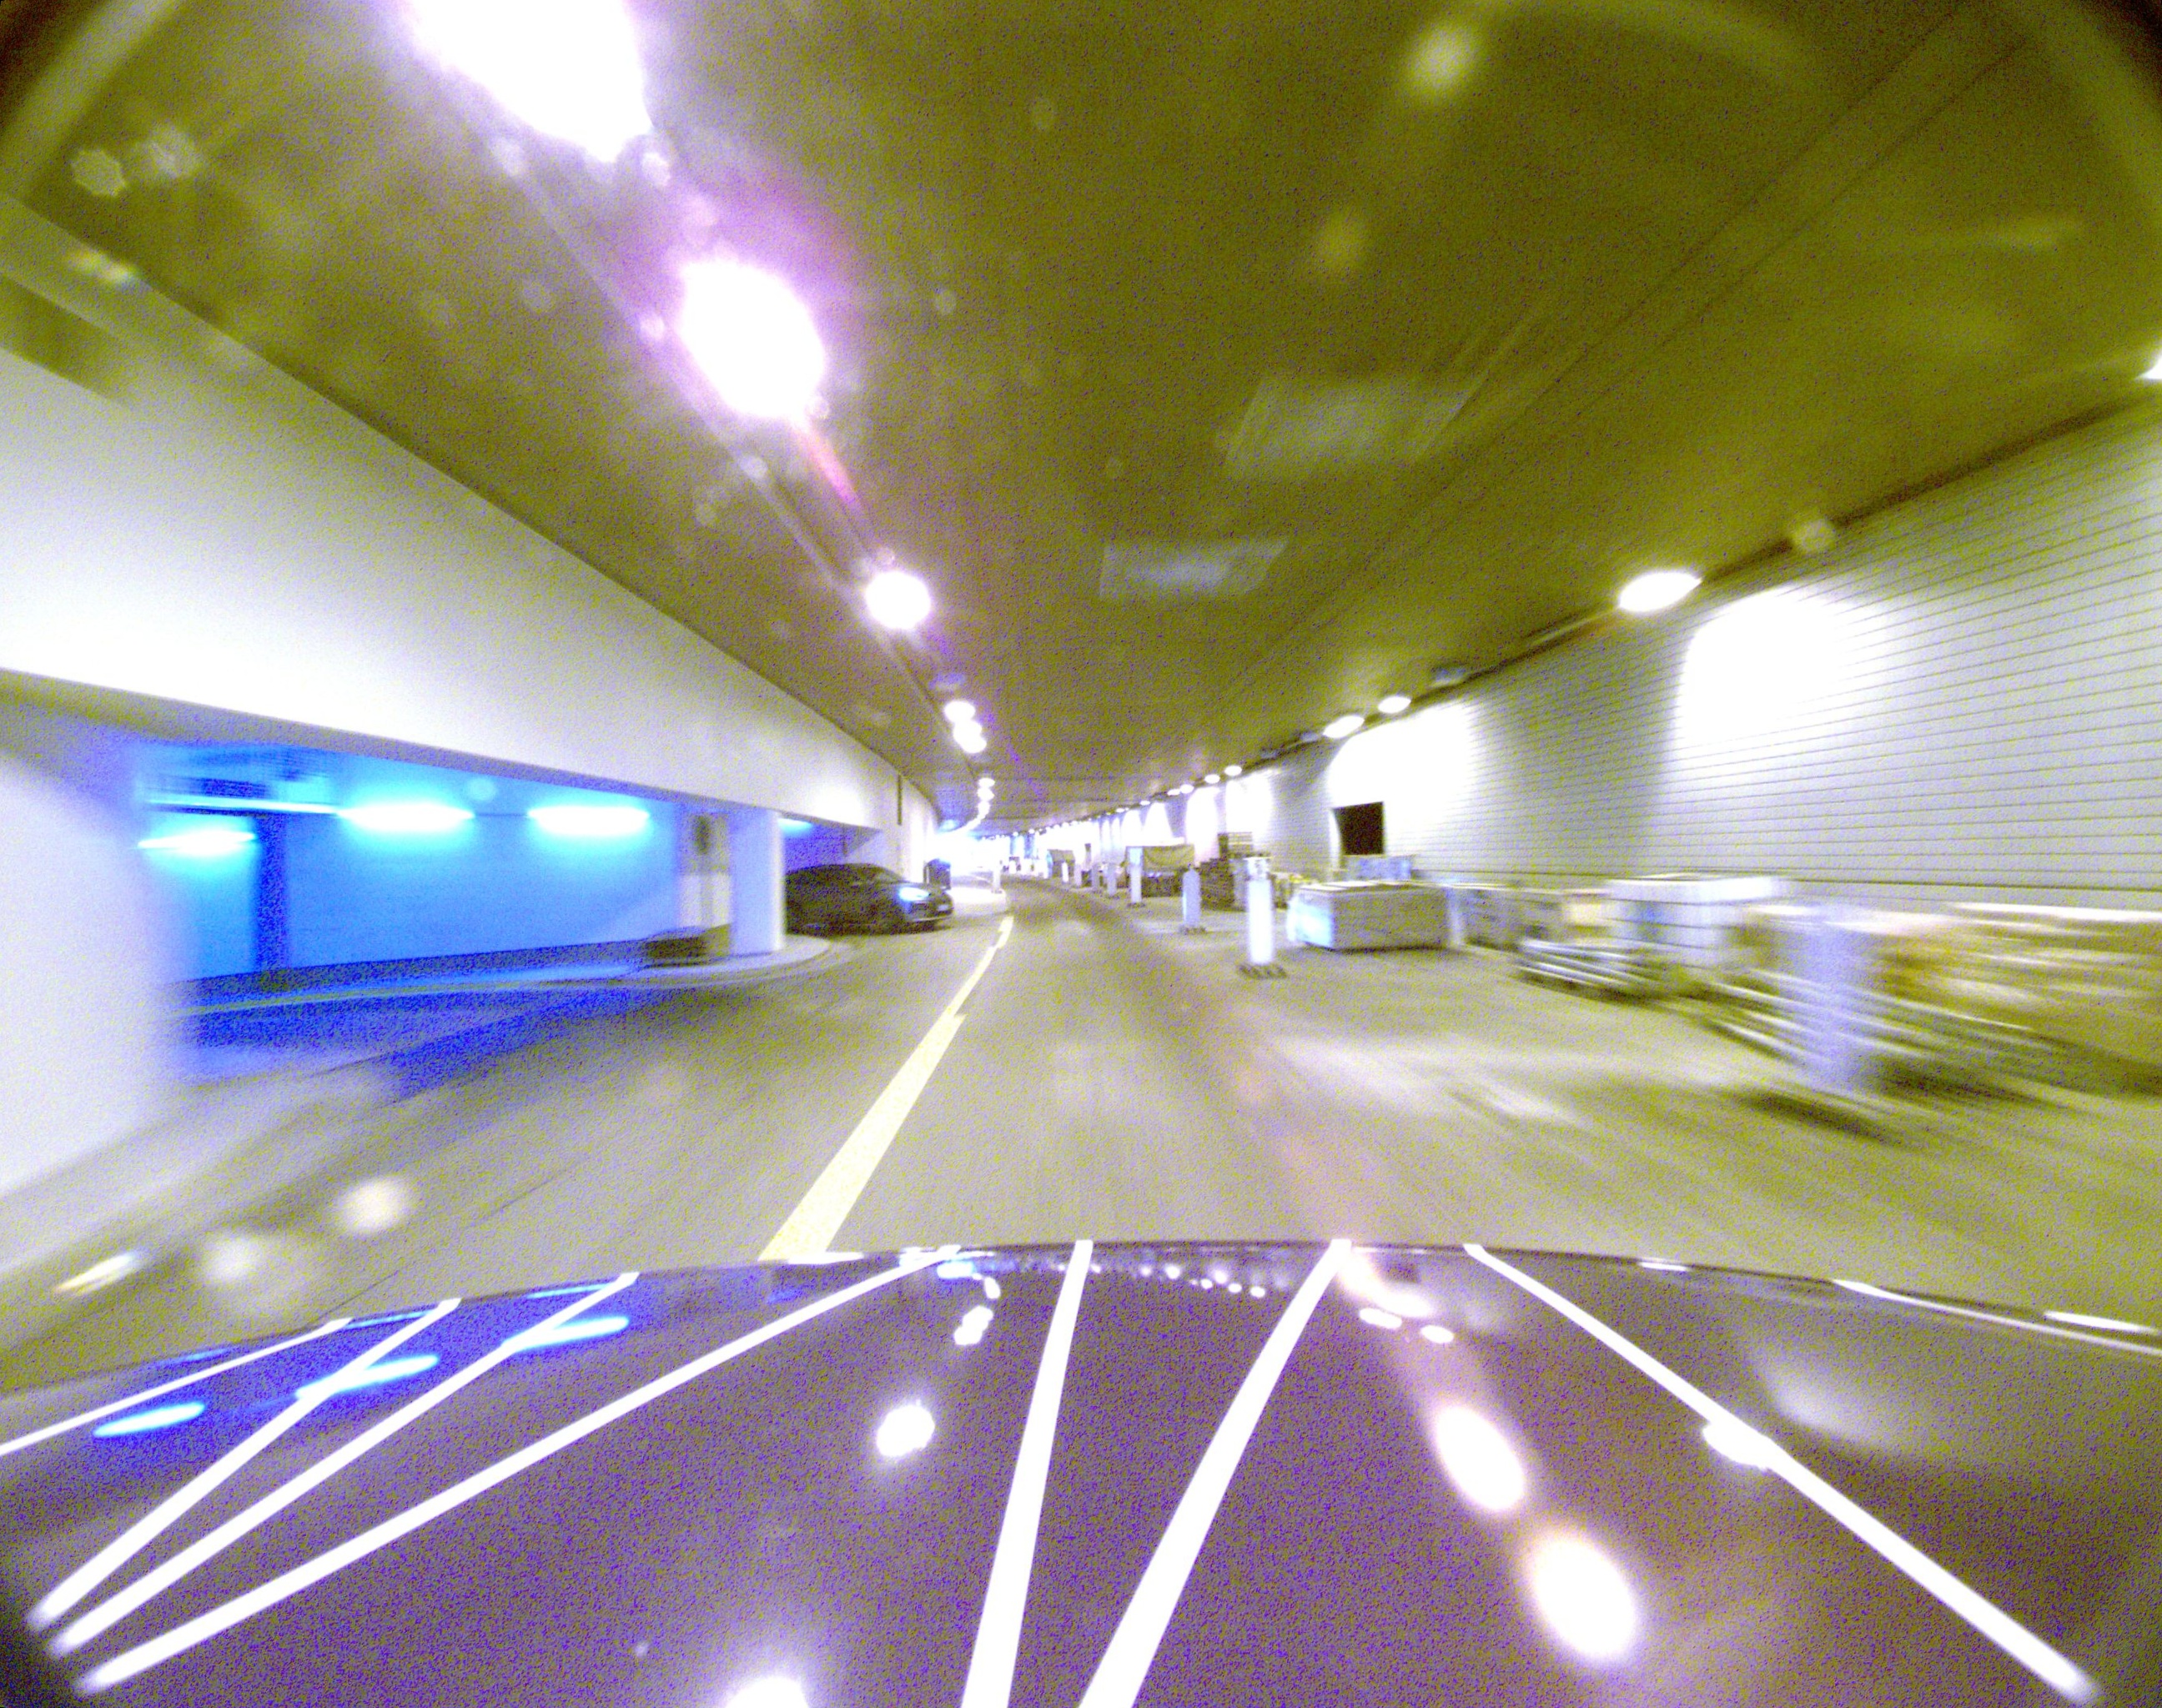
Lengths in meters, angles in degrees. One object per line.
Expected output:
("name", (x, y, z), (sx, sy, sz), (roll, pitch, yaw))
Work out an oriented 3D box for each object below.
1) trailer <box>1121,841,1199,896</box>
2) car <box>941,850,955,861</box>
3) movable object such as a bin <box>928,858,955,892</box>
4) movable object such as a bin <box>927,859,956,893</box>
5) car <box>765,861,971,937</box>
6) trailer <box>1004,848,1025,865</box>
("trailer", (3.078, 0.533, 30.396), (2.215, 2.002, 3.463), (-2, 1, -9))
("car", (-22.696, 0.188, 129.487), (2.001, 1.743, 3.994), (-2, 1, -15))
("movable object such as a bin", (-6.408, 0.954, 35.043), (1.101, 1.437, 1.321), (-2, 1, -8))
("movable object such as a bin", (-6.173, 0.956, 33.653), (1.149, 1.437, 1.362), (-2, 1, -8))
("car", (-4.903, 0.991, 17.513), (4.230, 1.537, 1.900), (-1, 1, 22))
("trailer", (-7.139, 0.279, 81.446), (1.645, 1.781, 3.117), (-2, 1, -17))
